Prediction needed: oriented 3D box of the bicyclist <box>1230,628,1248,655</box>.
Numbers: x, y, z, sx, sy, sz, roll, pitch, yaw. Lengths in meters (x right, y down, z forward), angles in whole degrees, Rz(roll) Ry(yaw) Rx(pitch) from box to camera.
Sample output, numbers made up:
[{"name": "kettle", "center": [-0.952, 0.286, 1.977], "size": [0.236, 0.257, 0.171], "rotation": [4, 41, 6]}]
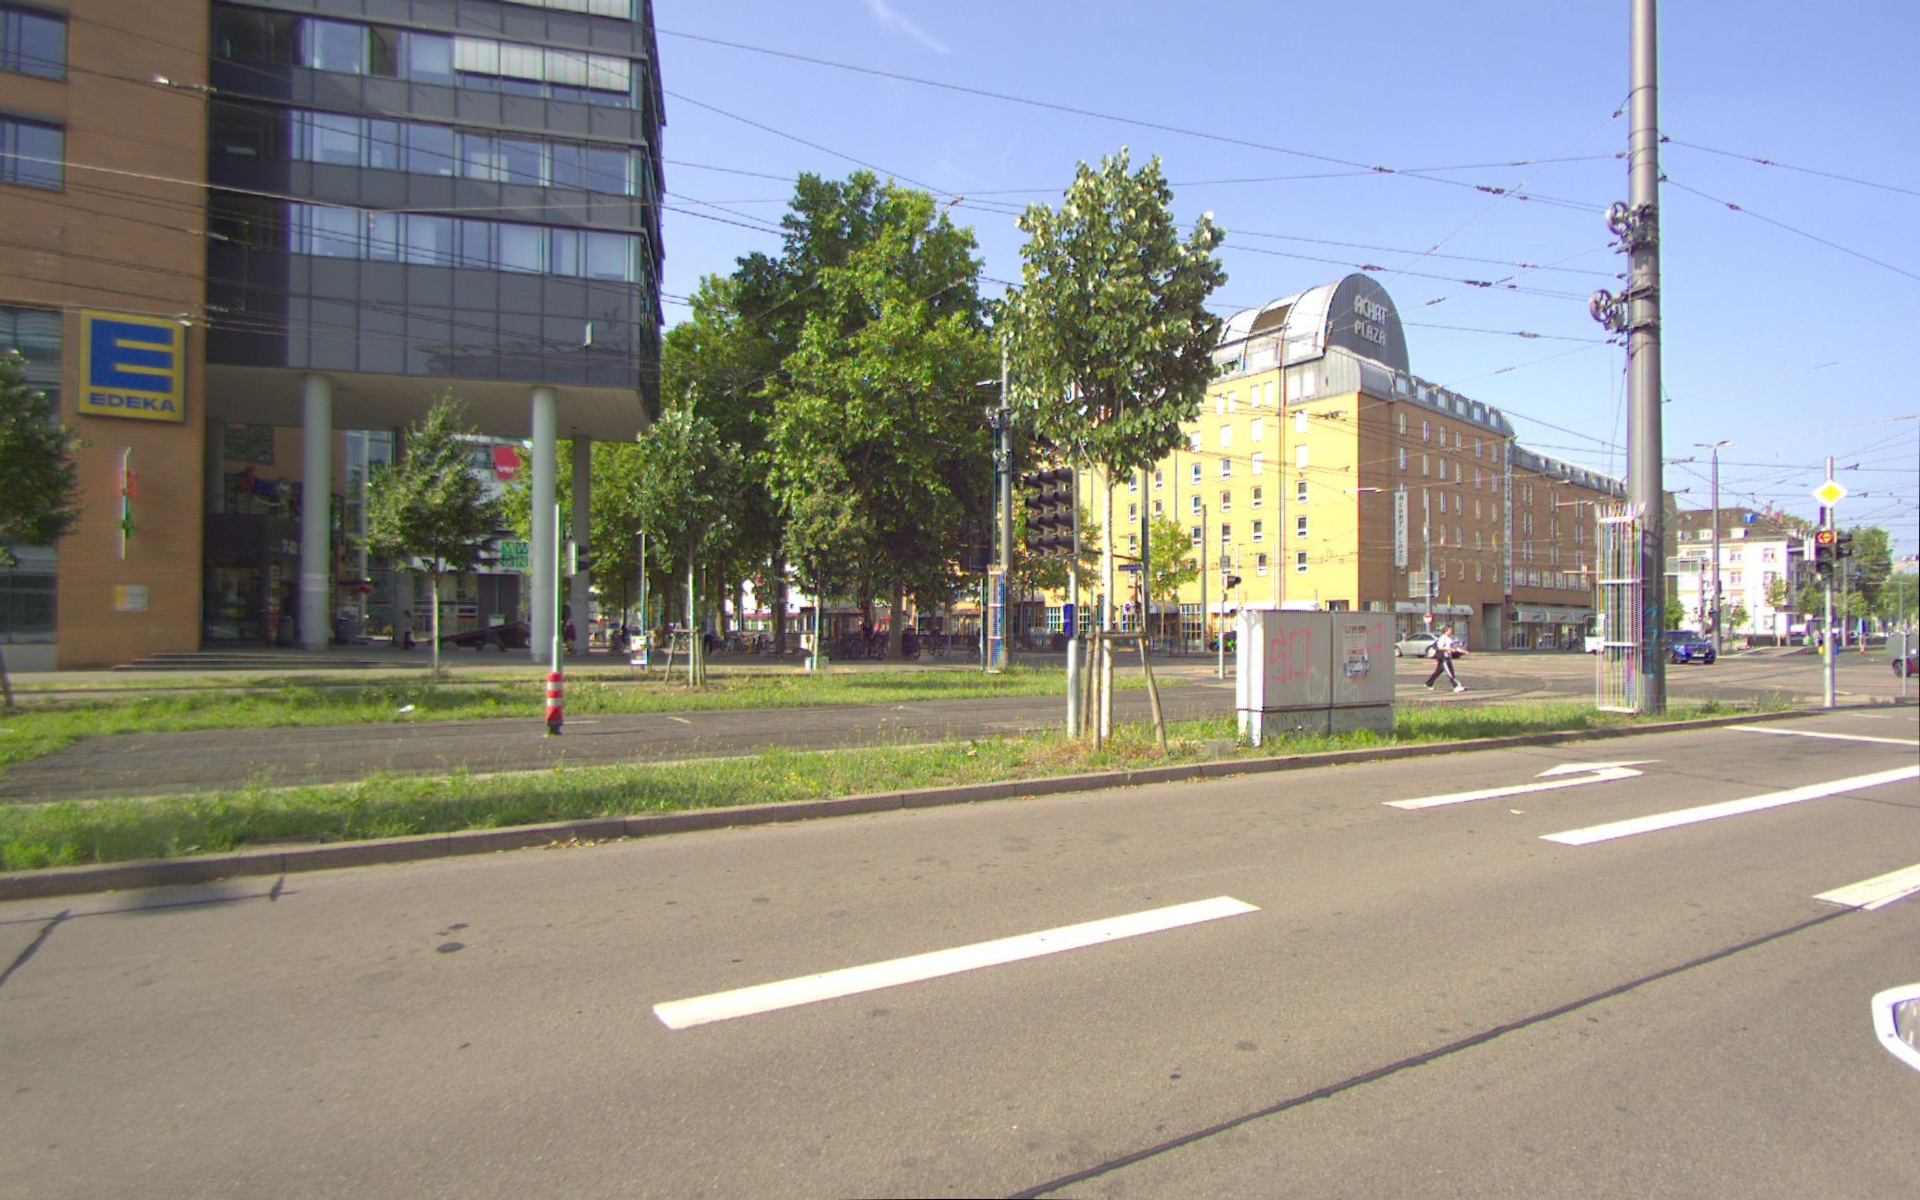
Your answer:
[{"name": "bicyclist", "center": [18.522, 2.729, 66.611], "size": [0.957, 1.769, 0.661], "rotation": [3, -2, -33]}]

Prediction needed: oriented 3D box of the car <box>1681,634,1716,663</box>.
[{"name": "car", "center": [54.128, 3.557, 73.608], "size": [2.710, 2.040, 1.587], "rotation": [4, -3, -42]}]

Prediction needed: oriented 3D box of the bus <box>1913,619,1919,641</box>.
[{"name": "bus", "center": [89.314, 2.768, 92.545], "size": [3.971, 2.040, 1.975], "rotation": [2, -2, -42]}]

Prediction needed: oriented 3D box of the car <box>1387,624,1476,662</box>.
[{"name": "car", "center": [26.690, 2.416, 57.057], "size": [1.968, 2.040, 4.598], "rotation": [1, -2, -18]}]

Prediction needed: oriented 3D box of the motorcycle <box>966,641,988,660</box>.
[{"name": "motorcycle", "center": [0.947, 2.816, 56.342], "size": [0.281, 1.008, 1.677], "rotation": [3, -3, -37]}]

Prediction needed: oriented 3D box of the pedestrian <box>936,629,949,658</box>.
[{"name": "pedestrian", "center": [-1.020, 2.572, 59.393], "size": [0.504, 1.748, 0.527], "rotation": [3, -3, -38]}]

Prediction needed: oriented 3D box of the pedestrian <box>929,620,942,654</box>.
[{"name": "pedestrian", "center": [-1.460, 2.214, 59.879], "size": [0.534, 2.040, 0.485], "rotation": [3, -3, -38]}]

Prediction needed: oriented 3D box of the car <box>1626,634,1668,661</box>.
[{"name": "car", "center": [41.124, 2.845, 60.176], "size": [1.966, 1.506, 4.210], "rotation": [0, -3, 33]}]

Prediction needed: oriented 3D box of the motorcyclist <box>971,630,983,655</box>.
[{"name": "motorcyclist", "center": [0.956, 2.384, 56.367], "size": [0.414, 1.339, 0.527], "rotation": [3, -3, -38]}]

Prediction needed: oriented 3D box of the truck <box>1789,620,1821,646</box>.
[{"name": "truck", "center": [86.537, 3.359, 102.835], "size": [4.706, 2.633, 1.975], "rotation": [2, -2, -43]}]

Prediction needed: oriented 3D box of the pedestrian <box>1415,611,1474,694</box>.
[{"name": "pedestrian", "center": [12.320, 1.330, 25.551], "size": [0.770, 2.040, 1.145], "rotation": [3, -3, -42]}]

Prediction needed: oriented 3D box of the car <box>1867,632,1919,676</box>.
[{"name": "car", "center": [34.600, 1.945, 35.616], "size": [1.669, 1.511, 3.604], "rotation": [3, -3, 1]}]

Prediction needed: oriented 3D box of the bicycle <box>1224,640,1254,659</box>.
[{"name": "bicycle", "center": [18.500, 3.282, 66.574], "size": [2.264, 1.222, 0.545], "rotation": [3, -3, -34]}]

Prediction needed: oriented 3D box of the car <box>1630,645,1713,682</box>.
[{"name": "car", "center": [35.065, 3.099, 49.631], "size": [1.952, 1.657, 4.417], "rotation": [1, -2, 15]}]

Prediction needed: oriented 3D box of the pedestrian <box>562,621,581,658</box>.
[{"name": "pedestrian", "center": [-16.750, 1.706, 43.268], "size": [0.651, 1.563, 0.617], "rotation": [1, -1, -12]}]

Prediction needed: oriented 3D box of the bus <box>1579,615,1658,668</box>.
[{"name": "bus", "center": [54.035, 3.470, 82.215], "size": [12.135, 3.972, 2.720], "rotation": [4, -3, -44]}]
